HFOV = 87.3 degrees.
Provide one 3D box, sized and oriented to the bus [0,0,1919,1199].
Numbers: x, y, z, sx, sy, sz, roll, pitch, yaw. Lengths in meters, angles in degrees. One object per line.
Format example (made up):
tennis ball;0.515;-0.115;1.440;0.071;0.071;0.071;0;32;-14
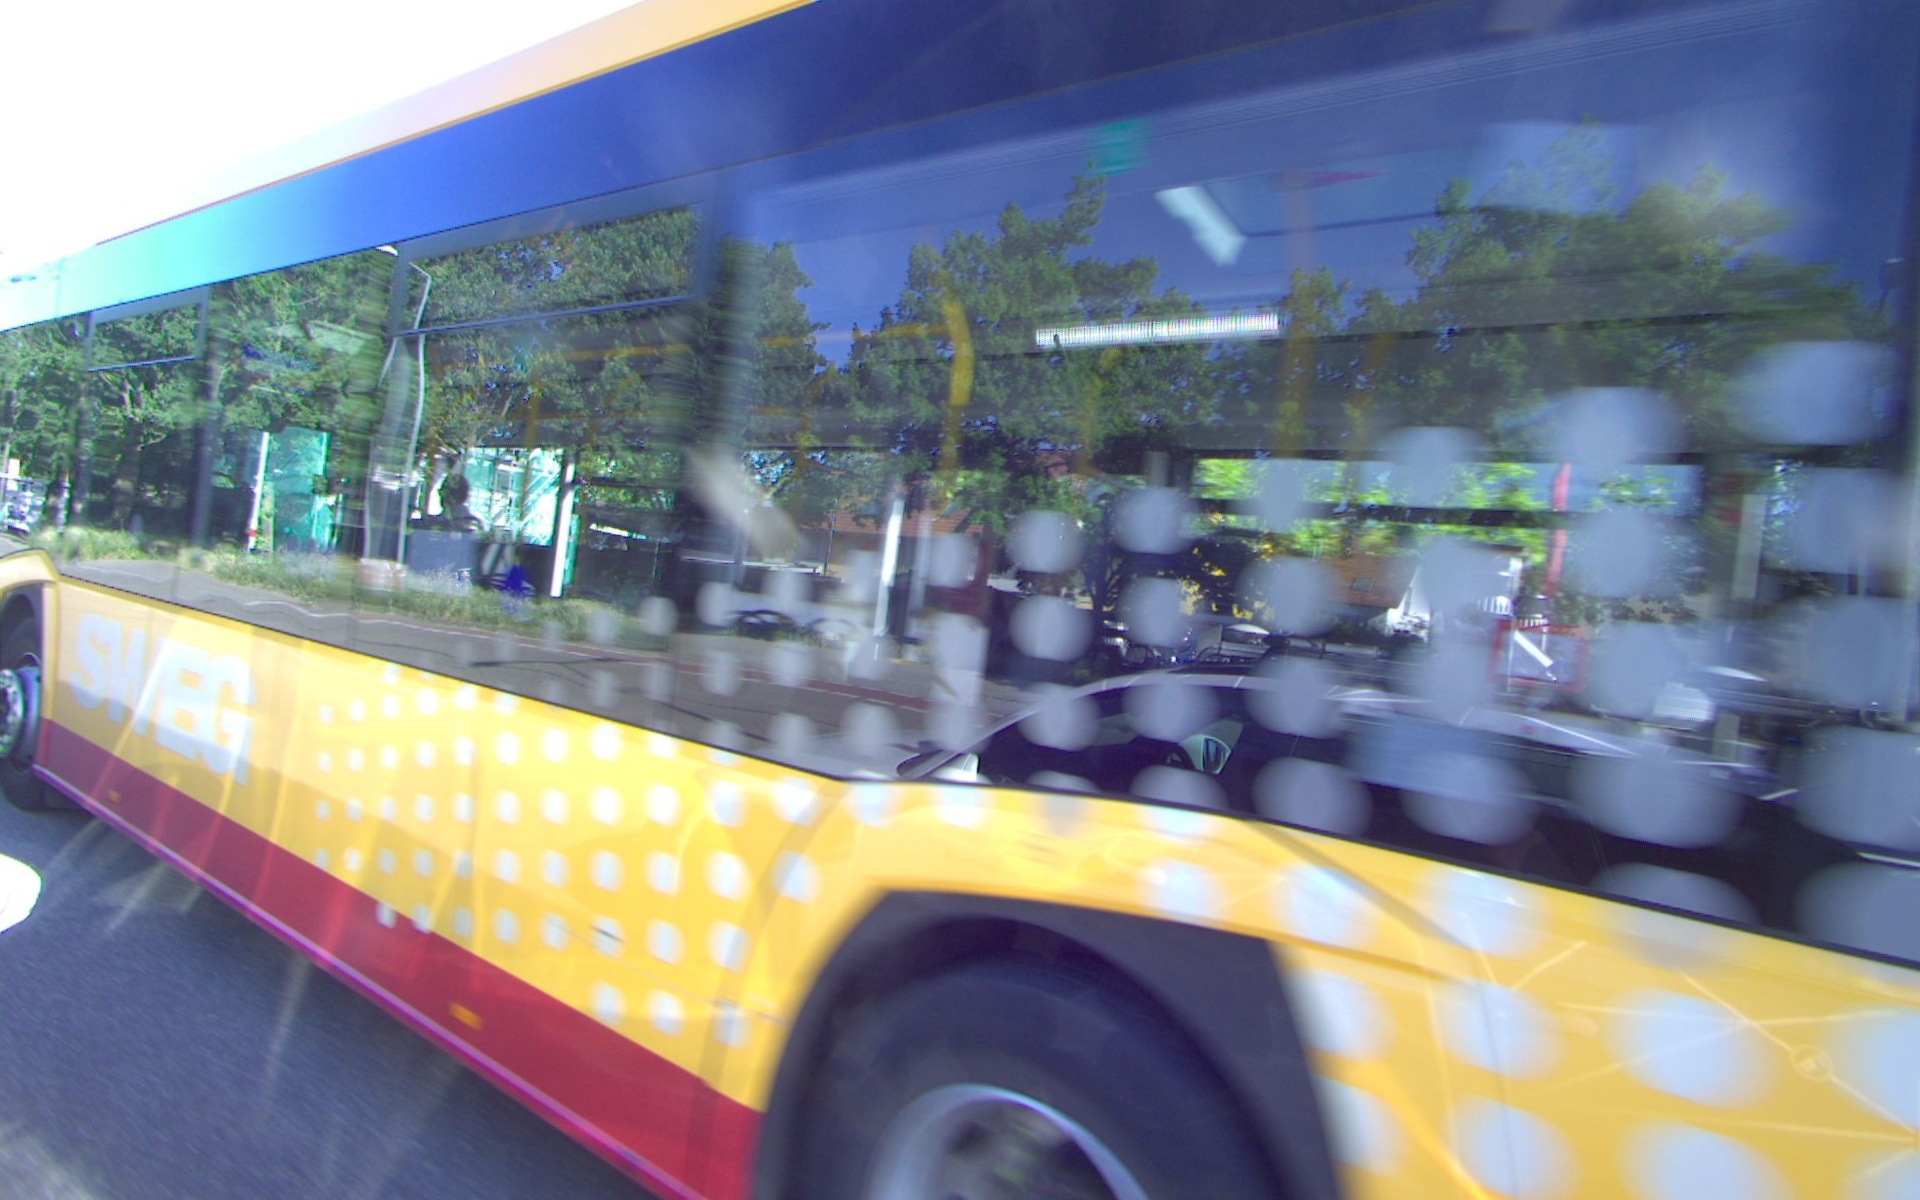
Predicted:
bus;-0.995;-0.319;3.896;12.205;3.501;2.757;6;0;36
